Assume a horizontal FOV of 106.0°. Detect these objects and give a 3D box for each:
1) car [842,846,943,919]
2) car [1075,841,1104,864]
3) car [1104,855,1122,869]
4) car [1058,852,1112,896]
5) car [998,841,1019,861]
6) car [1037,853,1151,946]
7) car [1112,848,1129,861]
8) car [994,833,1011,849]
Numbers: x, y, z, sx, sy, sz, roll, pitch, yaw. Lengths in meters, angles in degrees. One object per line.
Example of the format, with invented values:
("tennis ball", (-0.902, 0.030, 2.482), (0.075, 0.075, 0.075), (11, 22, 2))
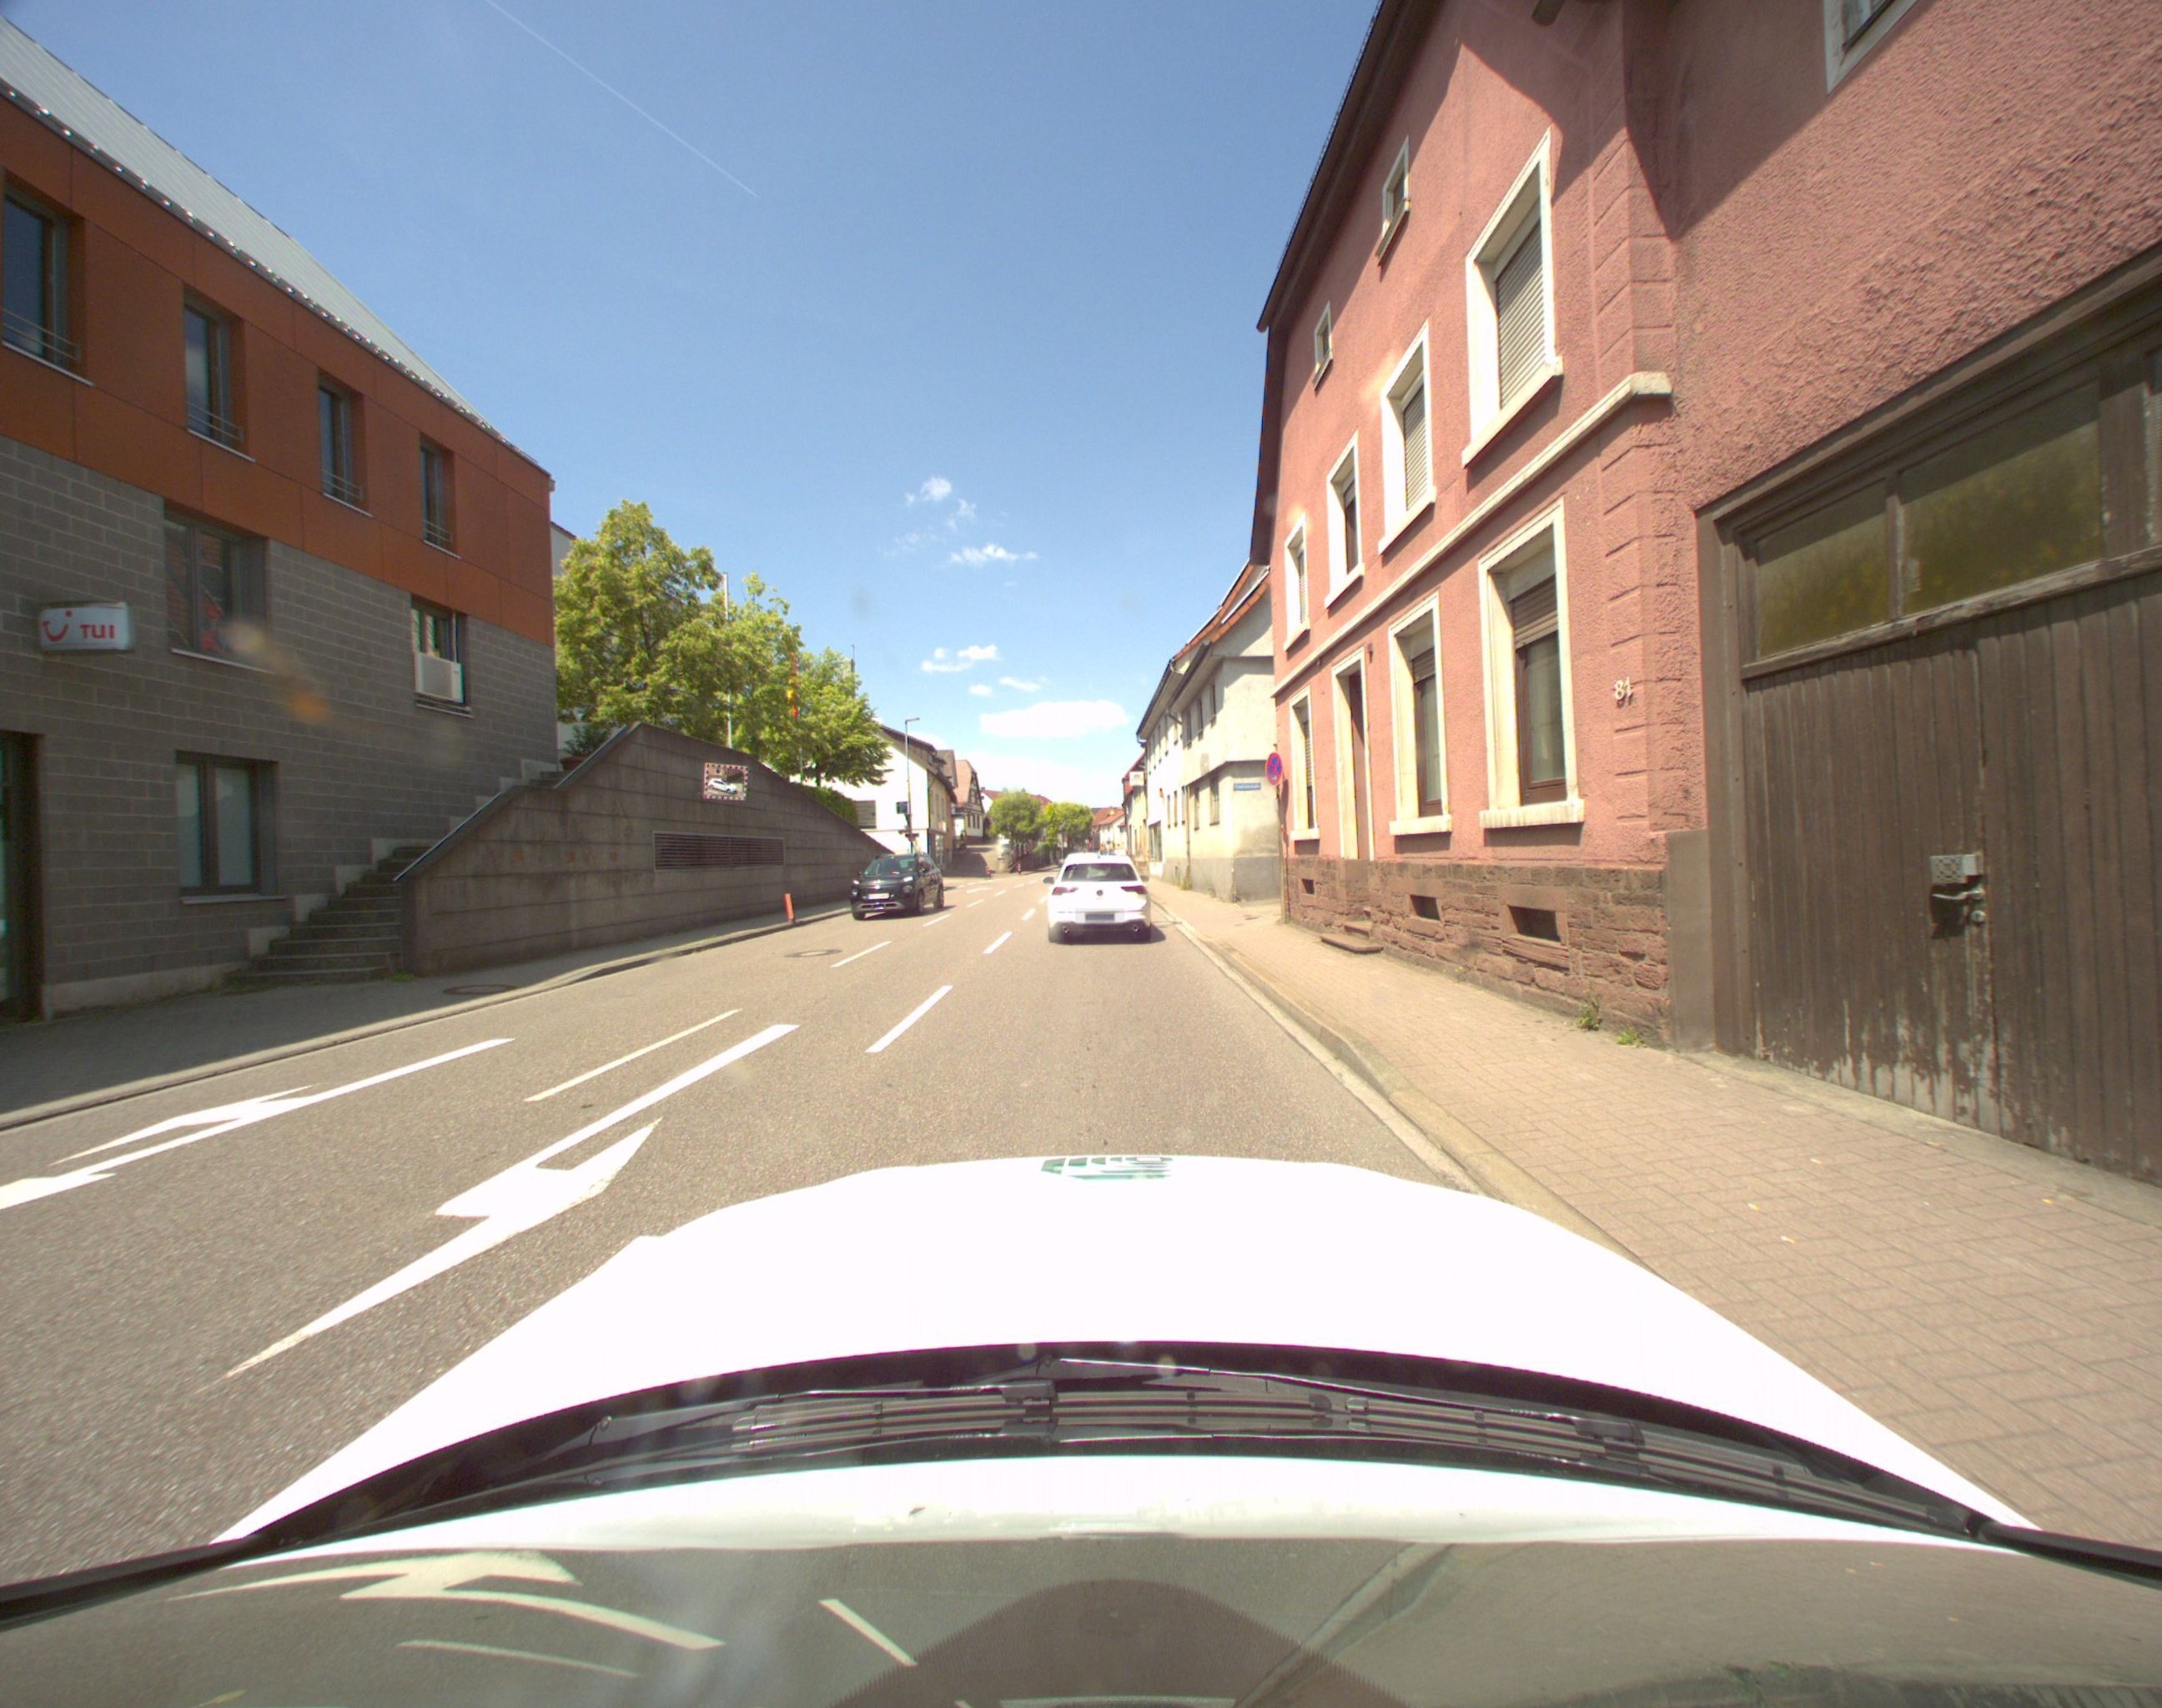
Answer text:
("car", (-4.865, 0.691, 21.572), (1.664, 1.657, 4.017), (-3, 0, 0))
("car", (0.586, -0.101, 54.656), (1.801, 1.467, 4.000), (1, 0, 1))
("car", (3.722, 0.924, 94.686), (1.766, 1.538, 4.008), (-1, 0, 7))
("car", (0.111, 0.699, 29.564), (1.802, 1.467, 3.998), (1, 0, -1))
("car", (-6.930, -0.312, 78.246), (1.688, 1.542, 3.857), (-1, 6, 0))
("car", (0.377, 0.737, 15.069), (1.799, 1.467, 4.006), (1, 0, 5))
("car", (5.406, 0.076, 110.521), (1.764, 1.765, 4.011), (-1, 0, 10))
("car", (-8.727, -1.470, 90.886), (1.571, 1.361, 3.857), (-1, 6, 0))
